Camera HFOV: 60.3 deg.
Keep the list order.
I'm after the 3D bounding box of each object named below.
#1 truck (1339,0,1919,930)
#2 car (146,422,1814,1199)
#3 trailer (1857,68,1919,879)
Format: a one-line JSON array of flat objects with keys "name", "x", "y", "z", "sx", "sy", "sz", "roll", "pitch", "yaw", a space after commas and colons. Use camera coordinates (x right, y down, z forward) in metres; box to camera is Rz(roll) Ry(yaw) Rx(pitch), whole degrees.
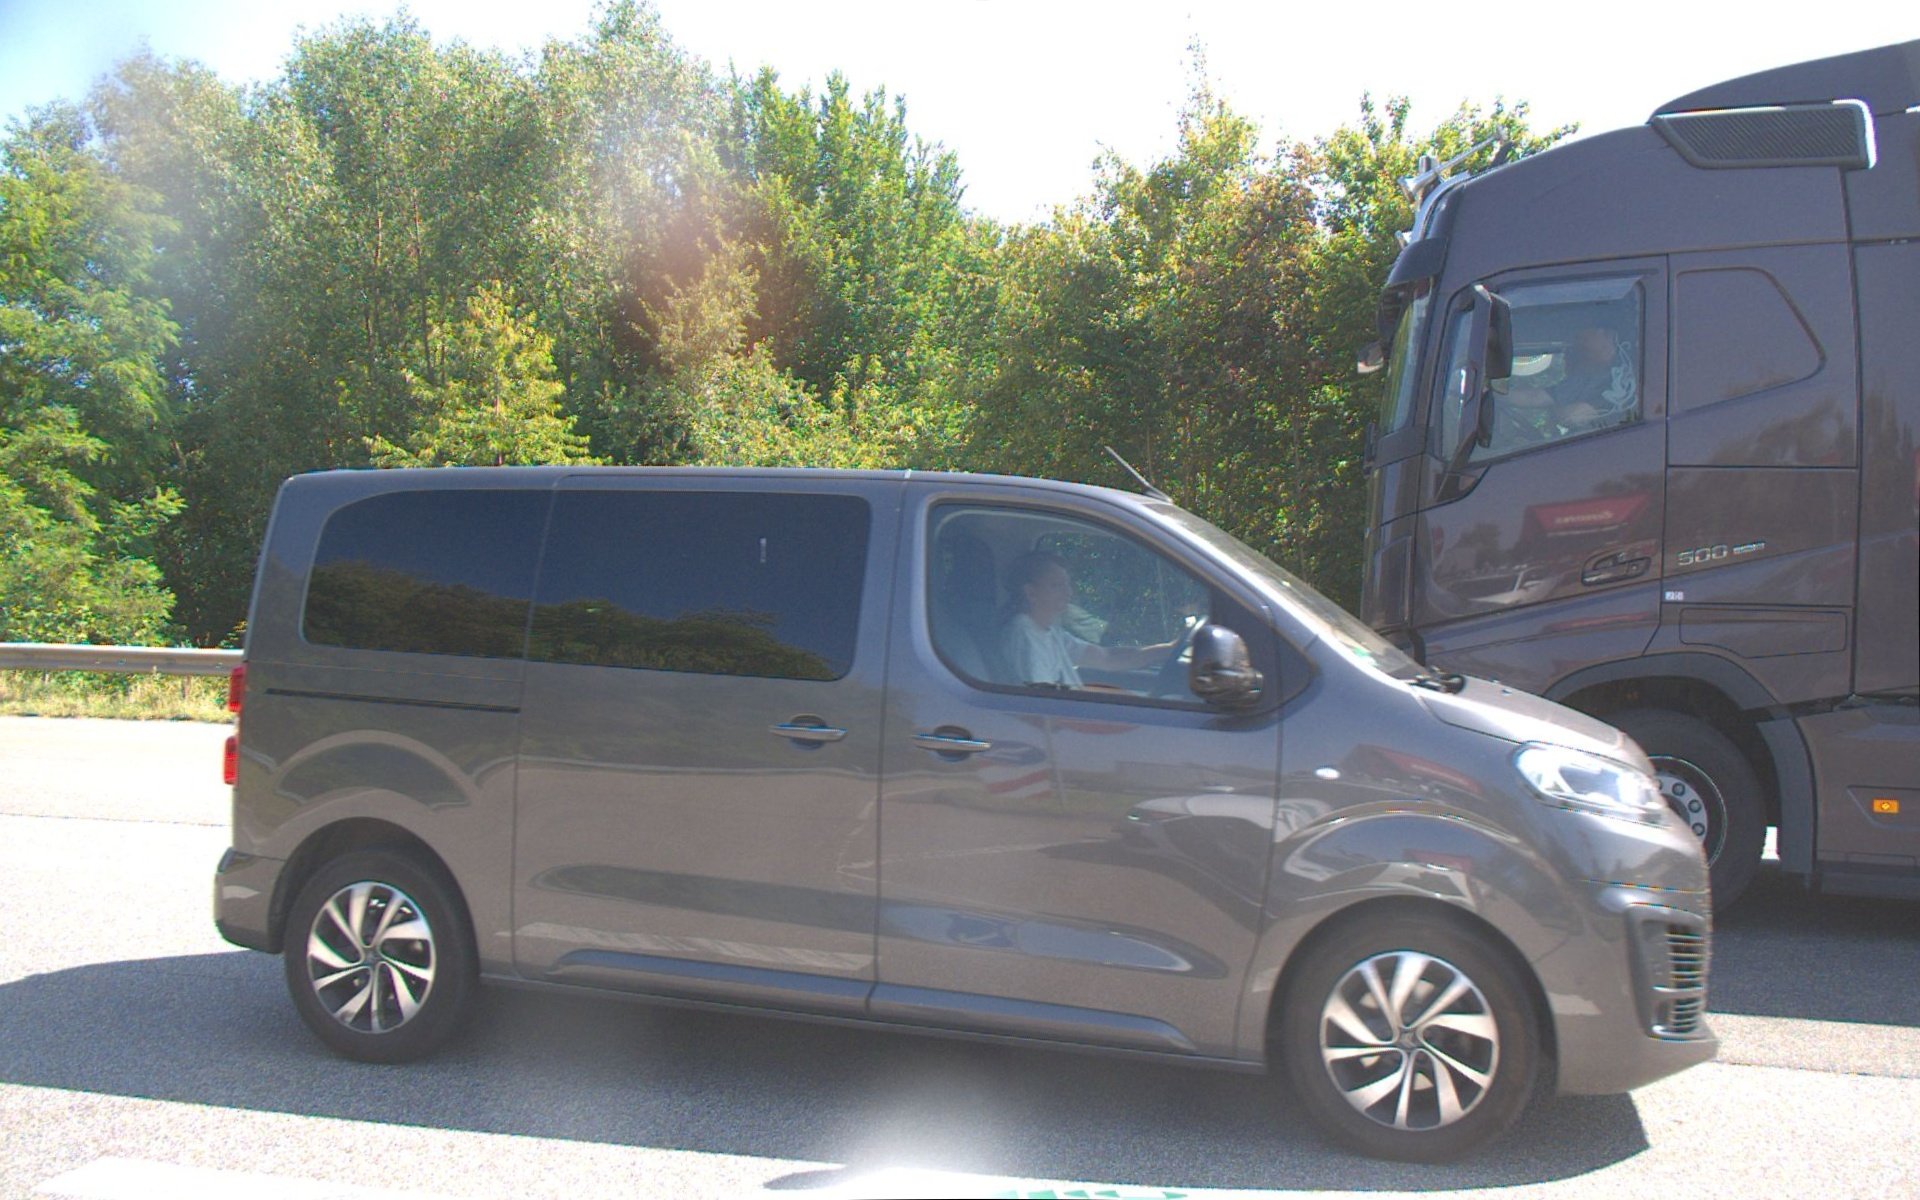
[{"name": "truck", "x": 5.021, "y": -0.692, "z": 8.446, "sx": 5.825, "sy": 4.246, "sz": 2.882, "roll": 1, "pitch": 0, "yaw": 16}, {"name": "car", "x": -0.009, "y": 0.499, "z": 5.643, "sx": 4.872, "sy": 1.912, "sz": 2.001, "roll": 0, "pitch": 0, "yaw": 15}, {"name": "trailer", "x": 11.496, "y": -0.603, "z": 6.524, "sx": 13.641, "sy": 4.238, "sz": 2.898, "roll": 1, "pitch": 0, "yaw": 17}]
